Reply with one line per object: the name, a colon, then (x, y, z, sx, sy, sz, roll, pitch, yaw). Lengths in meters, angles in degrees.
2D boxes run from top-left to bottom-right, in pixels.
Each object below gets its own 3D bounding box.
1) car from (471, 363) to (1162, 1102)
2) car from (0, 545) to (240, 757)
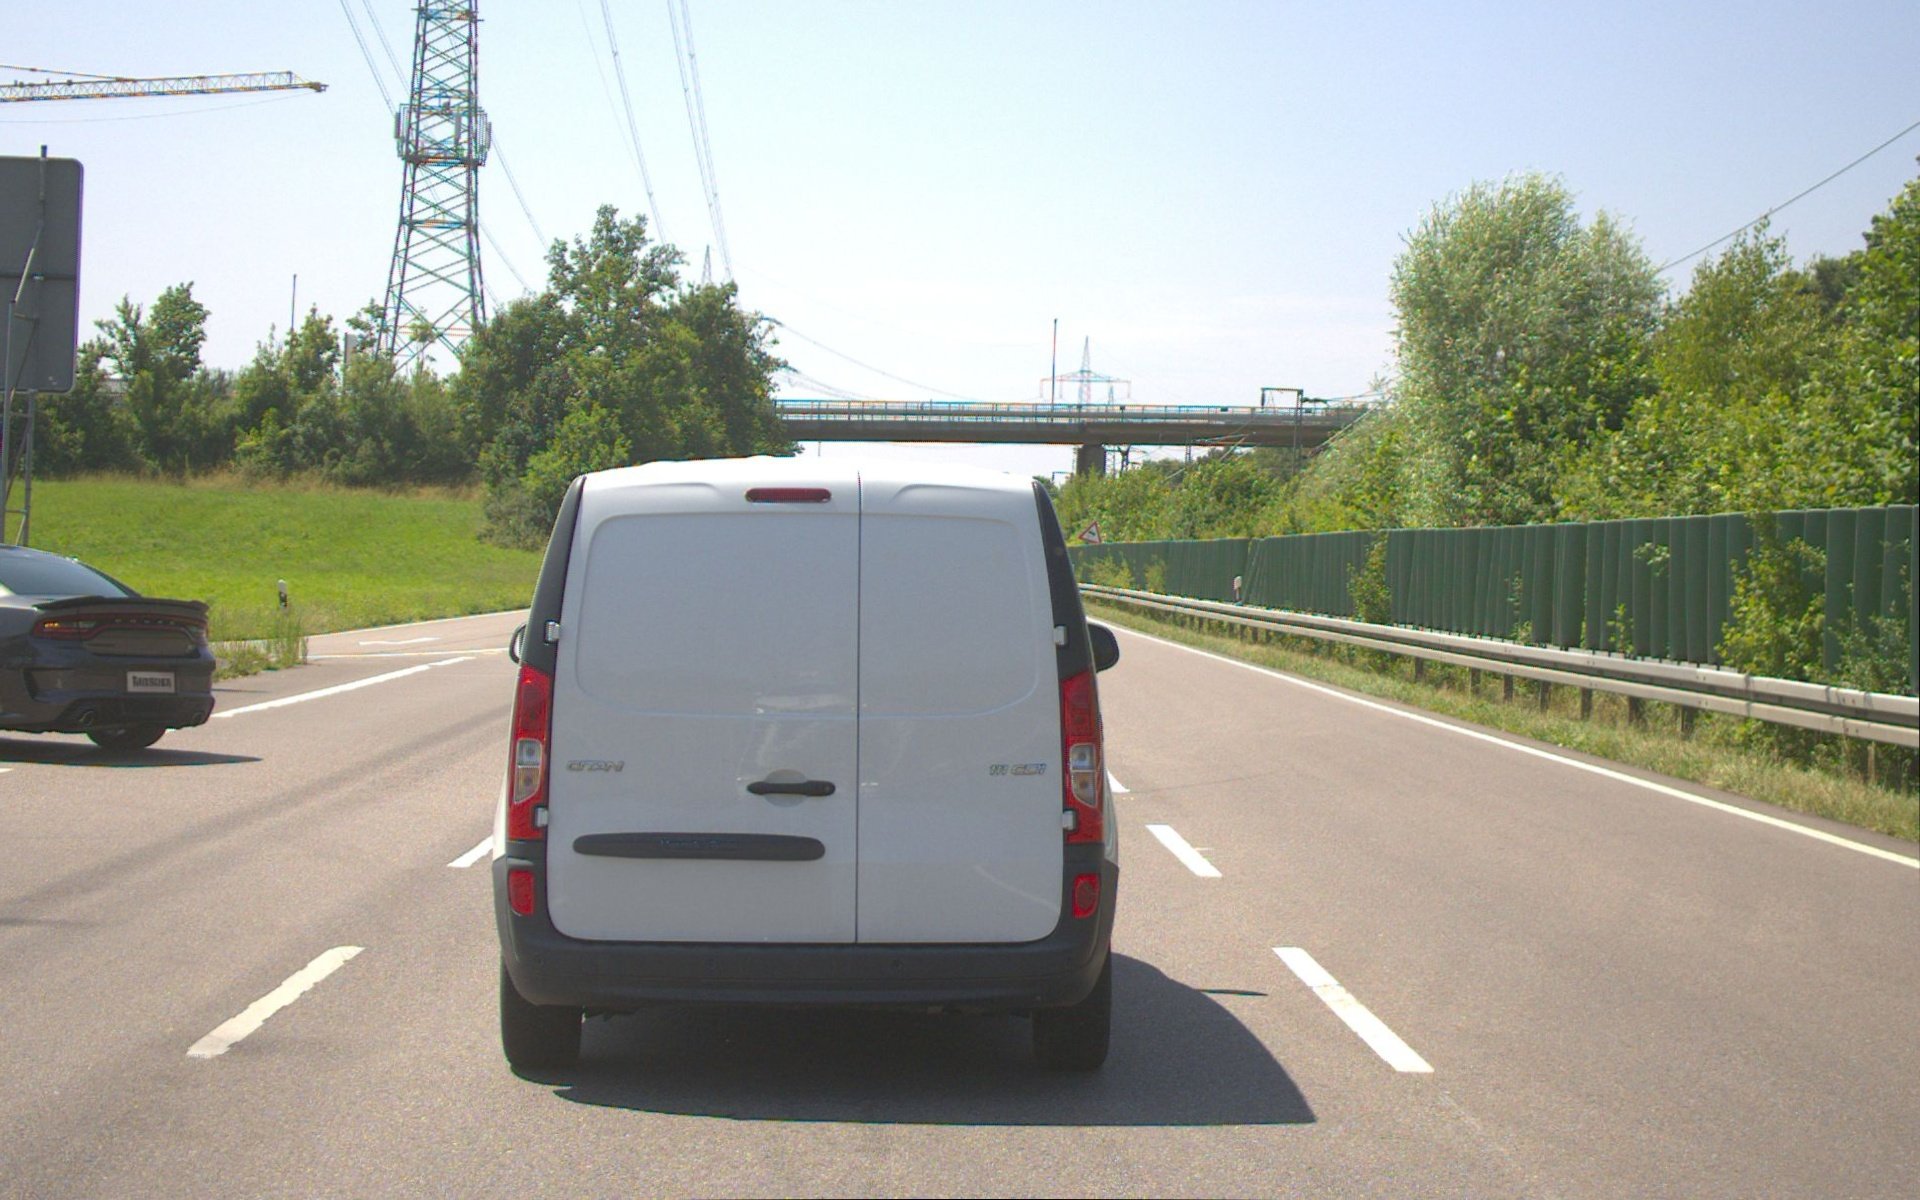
car: (-0.531, 0.330, 11.196, 1.826, 1.964, 4.001, 1, 1, -4)
car: (-7.582, 0.278, 24.768, 4.647, 1.392, 1.858, 2, 1, 32)
